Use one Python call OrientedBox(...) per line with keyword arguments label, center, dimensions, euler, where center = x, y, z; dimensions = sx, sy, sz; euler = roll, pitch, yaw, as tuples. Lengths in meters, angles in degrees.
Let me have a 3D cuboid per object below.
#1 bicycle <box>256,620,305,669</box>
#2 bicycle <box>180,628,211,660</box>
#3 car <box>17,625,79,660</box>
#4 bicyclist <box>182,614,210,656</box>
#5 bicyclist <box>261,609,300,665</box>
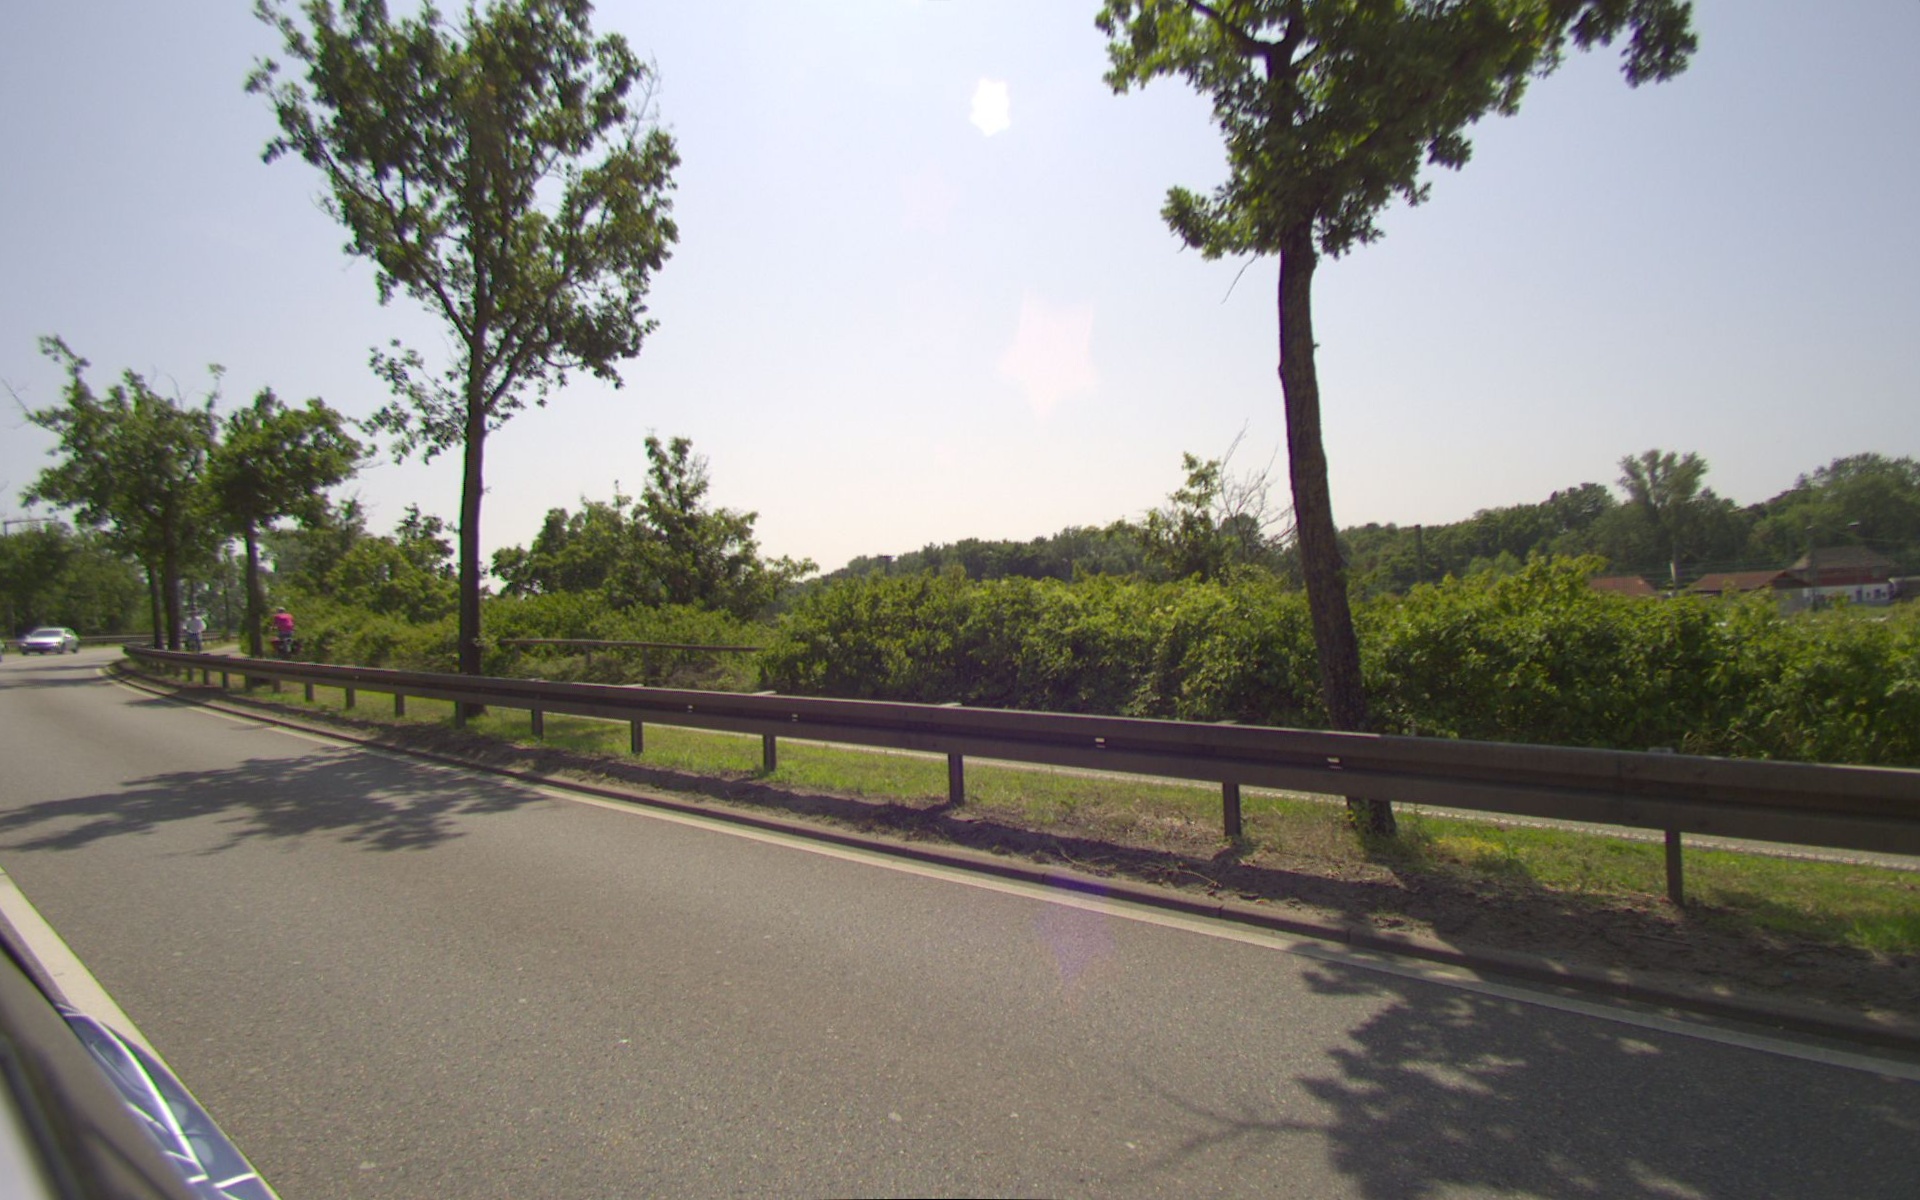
OrientedBox(label="bicycle", center=(-18.877, 1.207, 28.112), dimensions=(2.047, 1.291, 0.726), euler=(-2, -1, 45))
OrientedBox(label="bicycle", center=(-27.724, 1.574, 36.693), dimensions=(0.725, 1.125, 2.049), euler=(2, -2, -40))
OrientedBox(label="car", center=(-50.966, 2.355, 56.616), dimensions=(1.769, 1.796, 4.306), euler=(-1, 0, -31))
OrientedBox(label="bicyclist", center=(-27.690, 1.263, 36.677), dimensions=(0.720, 1.477, 0.825), euler=(2, -2, -41))
OrientedBox(label="bicyclist", center=(-18.846, 1.009, 28.078), dimensions=(0.757, 1.500, 0.733), euler=(-2, -1, 44))
